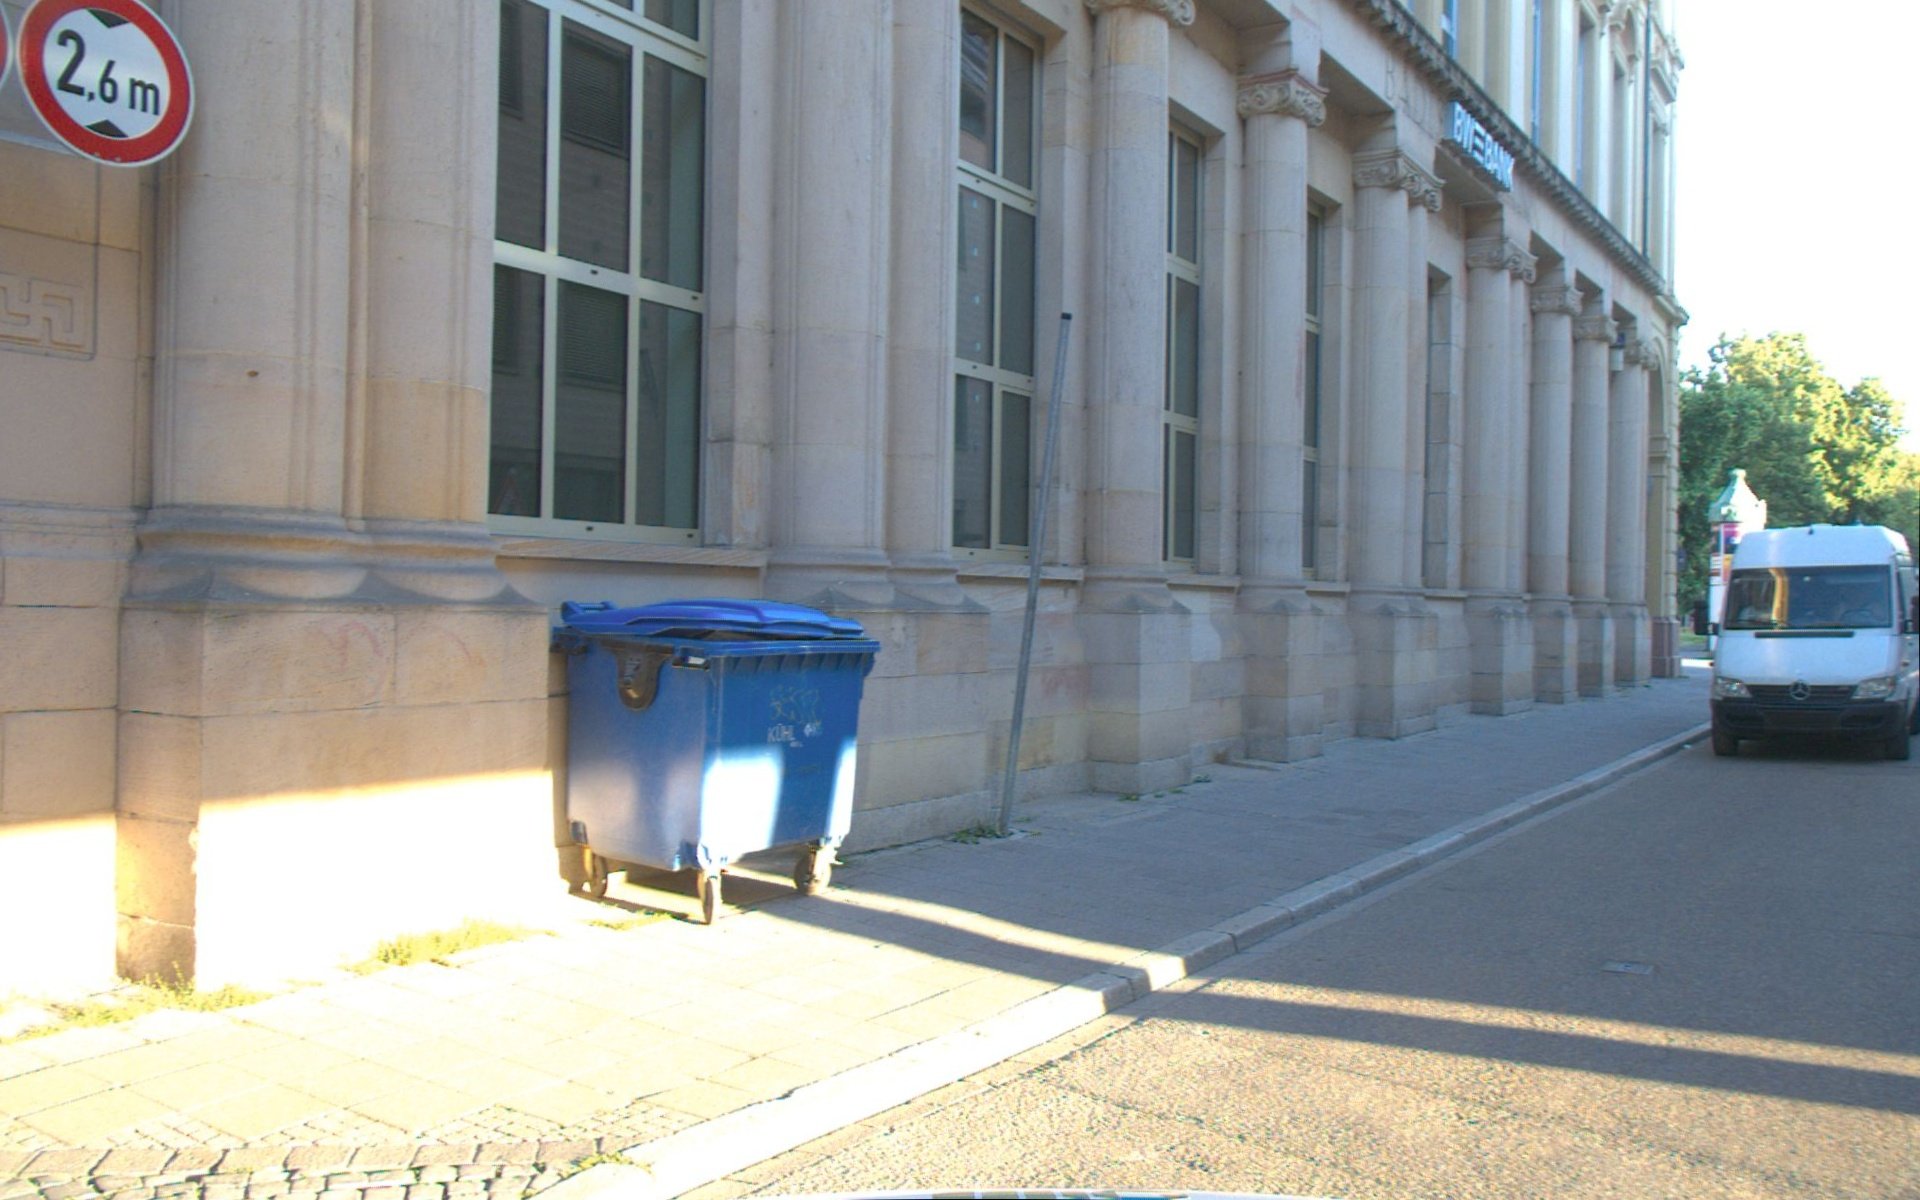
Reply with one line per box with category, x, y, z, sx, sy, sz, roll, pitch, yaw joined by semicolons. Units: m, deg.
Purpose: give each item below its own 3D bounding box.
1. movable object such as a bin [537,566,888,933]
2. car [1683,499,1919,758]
movable object such as a bin;-1.132;0.622;7.675;1.056;1.500;1.183;2;1;36
car;10.181;0.330;19.548;1.960;2.556;6.453;-3;-2;32
